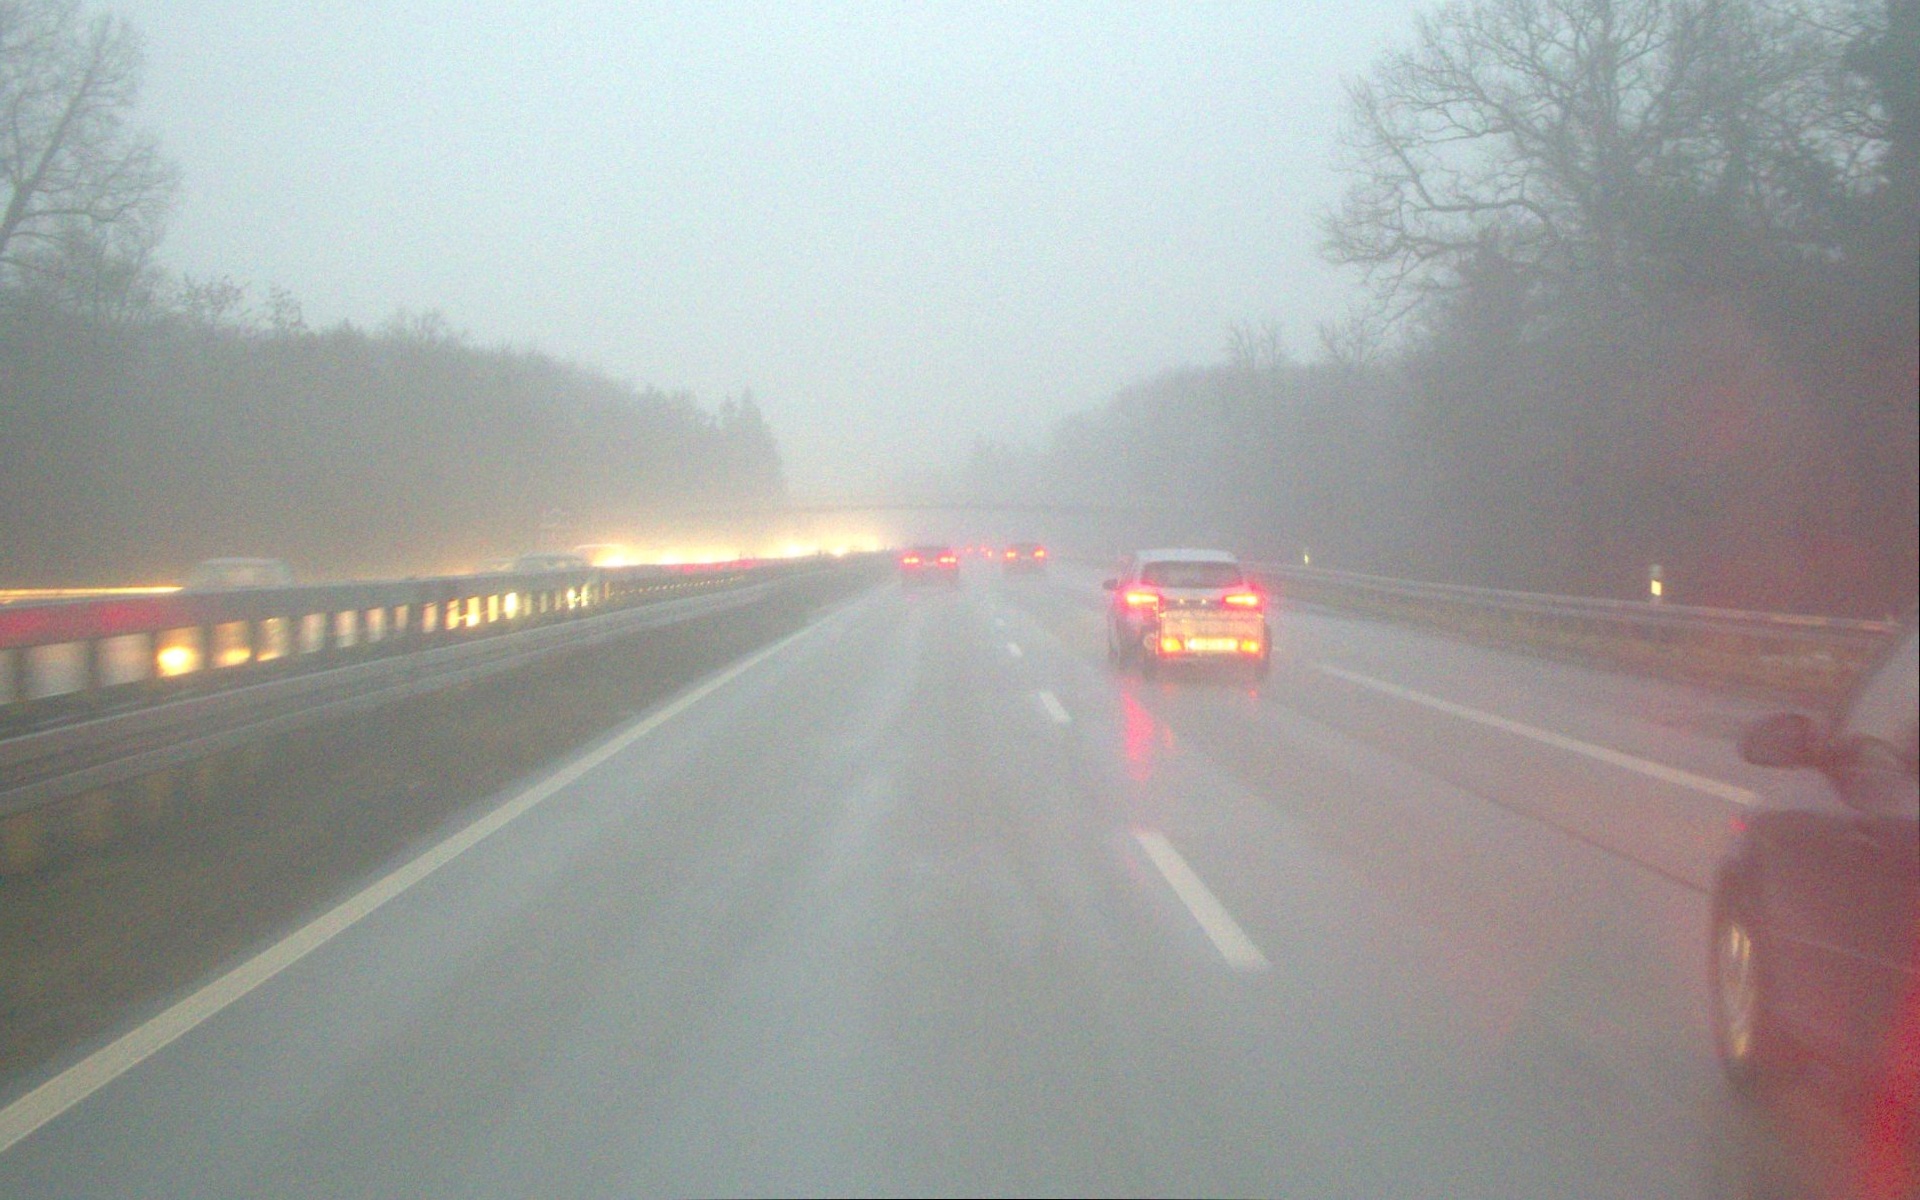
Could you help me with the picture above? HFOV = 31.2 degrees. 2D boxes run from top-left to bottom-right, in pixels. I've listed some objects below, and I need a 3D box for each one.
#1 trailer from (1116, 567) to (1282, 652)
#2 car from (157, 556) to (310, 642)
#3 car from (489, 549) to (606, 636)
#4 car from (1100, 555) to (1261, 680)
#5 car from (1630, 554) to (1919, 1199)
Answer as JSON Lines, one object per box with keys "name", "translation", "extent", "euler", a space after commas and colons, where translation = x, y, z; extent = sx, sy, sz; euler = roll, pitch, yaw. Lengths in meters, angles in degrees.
{"name": "trailer", "translation": [2.843, 0.097, 41.364], "extent": [1.748, 0.922, 2.951], "euler": [-2, 1, 0]}
{"name": "car", "translation": [-12.472, -0.048, 59.261], "extent": [1.756, 1.403, 4.410], "euler": [0, 1, -1]}
{"name": "car", "translation": [-8.160, -0.181, 68.337], "extent": [1.698, 1.501, 4.410], "euler": [-5, 1, -1]}
{"name": "car", "translation": [2.827, 0.192, 44.743], "extent": [1.786, 1.511, 3.811], "euler": [-2, 1, 0]}
{"name": "car", "translation": [2.892, 0.630, 8.924], "extent": [1.594, 1.485, 3.594], "euler": [0, 1, 0]}
